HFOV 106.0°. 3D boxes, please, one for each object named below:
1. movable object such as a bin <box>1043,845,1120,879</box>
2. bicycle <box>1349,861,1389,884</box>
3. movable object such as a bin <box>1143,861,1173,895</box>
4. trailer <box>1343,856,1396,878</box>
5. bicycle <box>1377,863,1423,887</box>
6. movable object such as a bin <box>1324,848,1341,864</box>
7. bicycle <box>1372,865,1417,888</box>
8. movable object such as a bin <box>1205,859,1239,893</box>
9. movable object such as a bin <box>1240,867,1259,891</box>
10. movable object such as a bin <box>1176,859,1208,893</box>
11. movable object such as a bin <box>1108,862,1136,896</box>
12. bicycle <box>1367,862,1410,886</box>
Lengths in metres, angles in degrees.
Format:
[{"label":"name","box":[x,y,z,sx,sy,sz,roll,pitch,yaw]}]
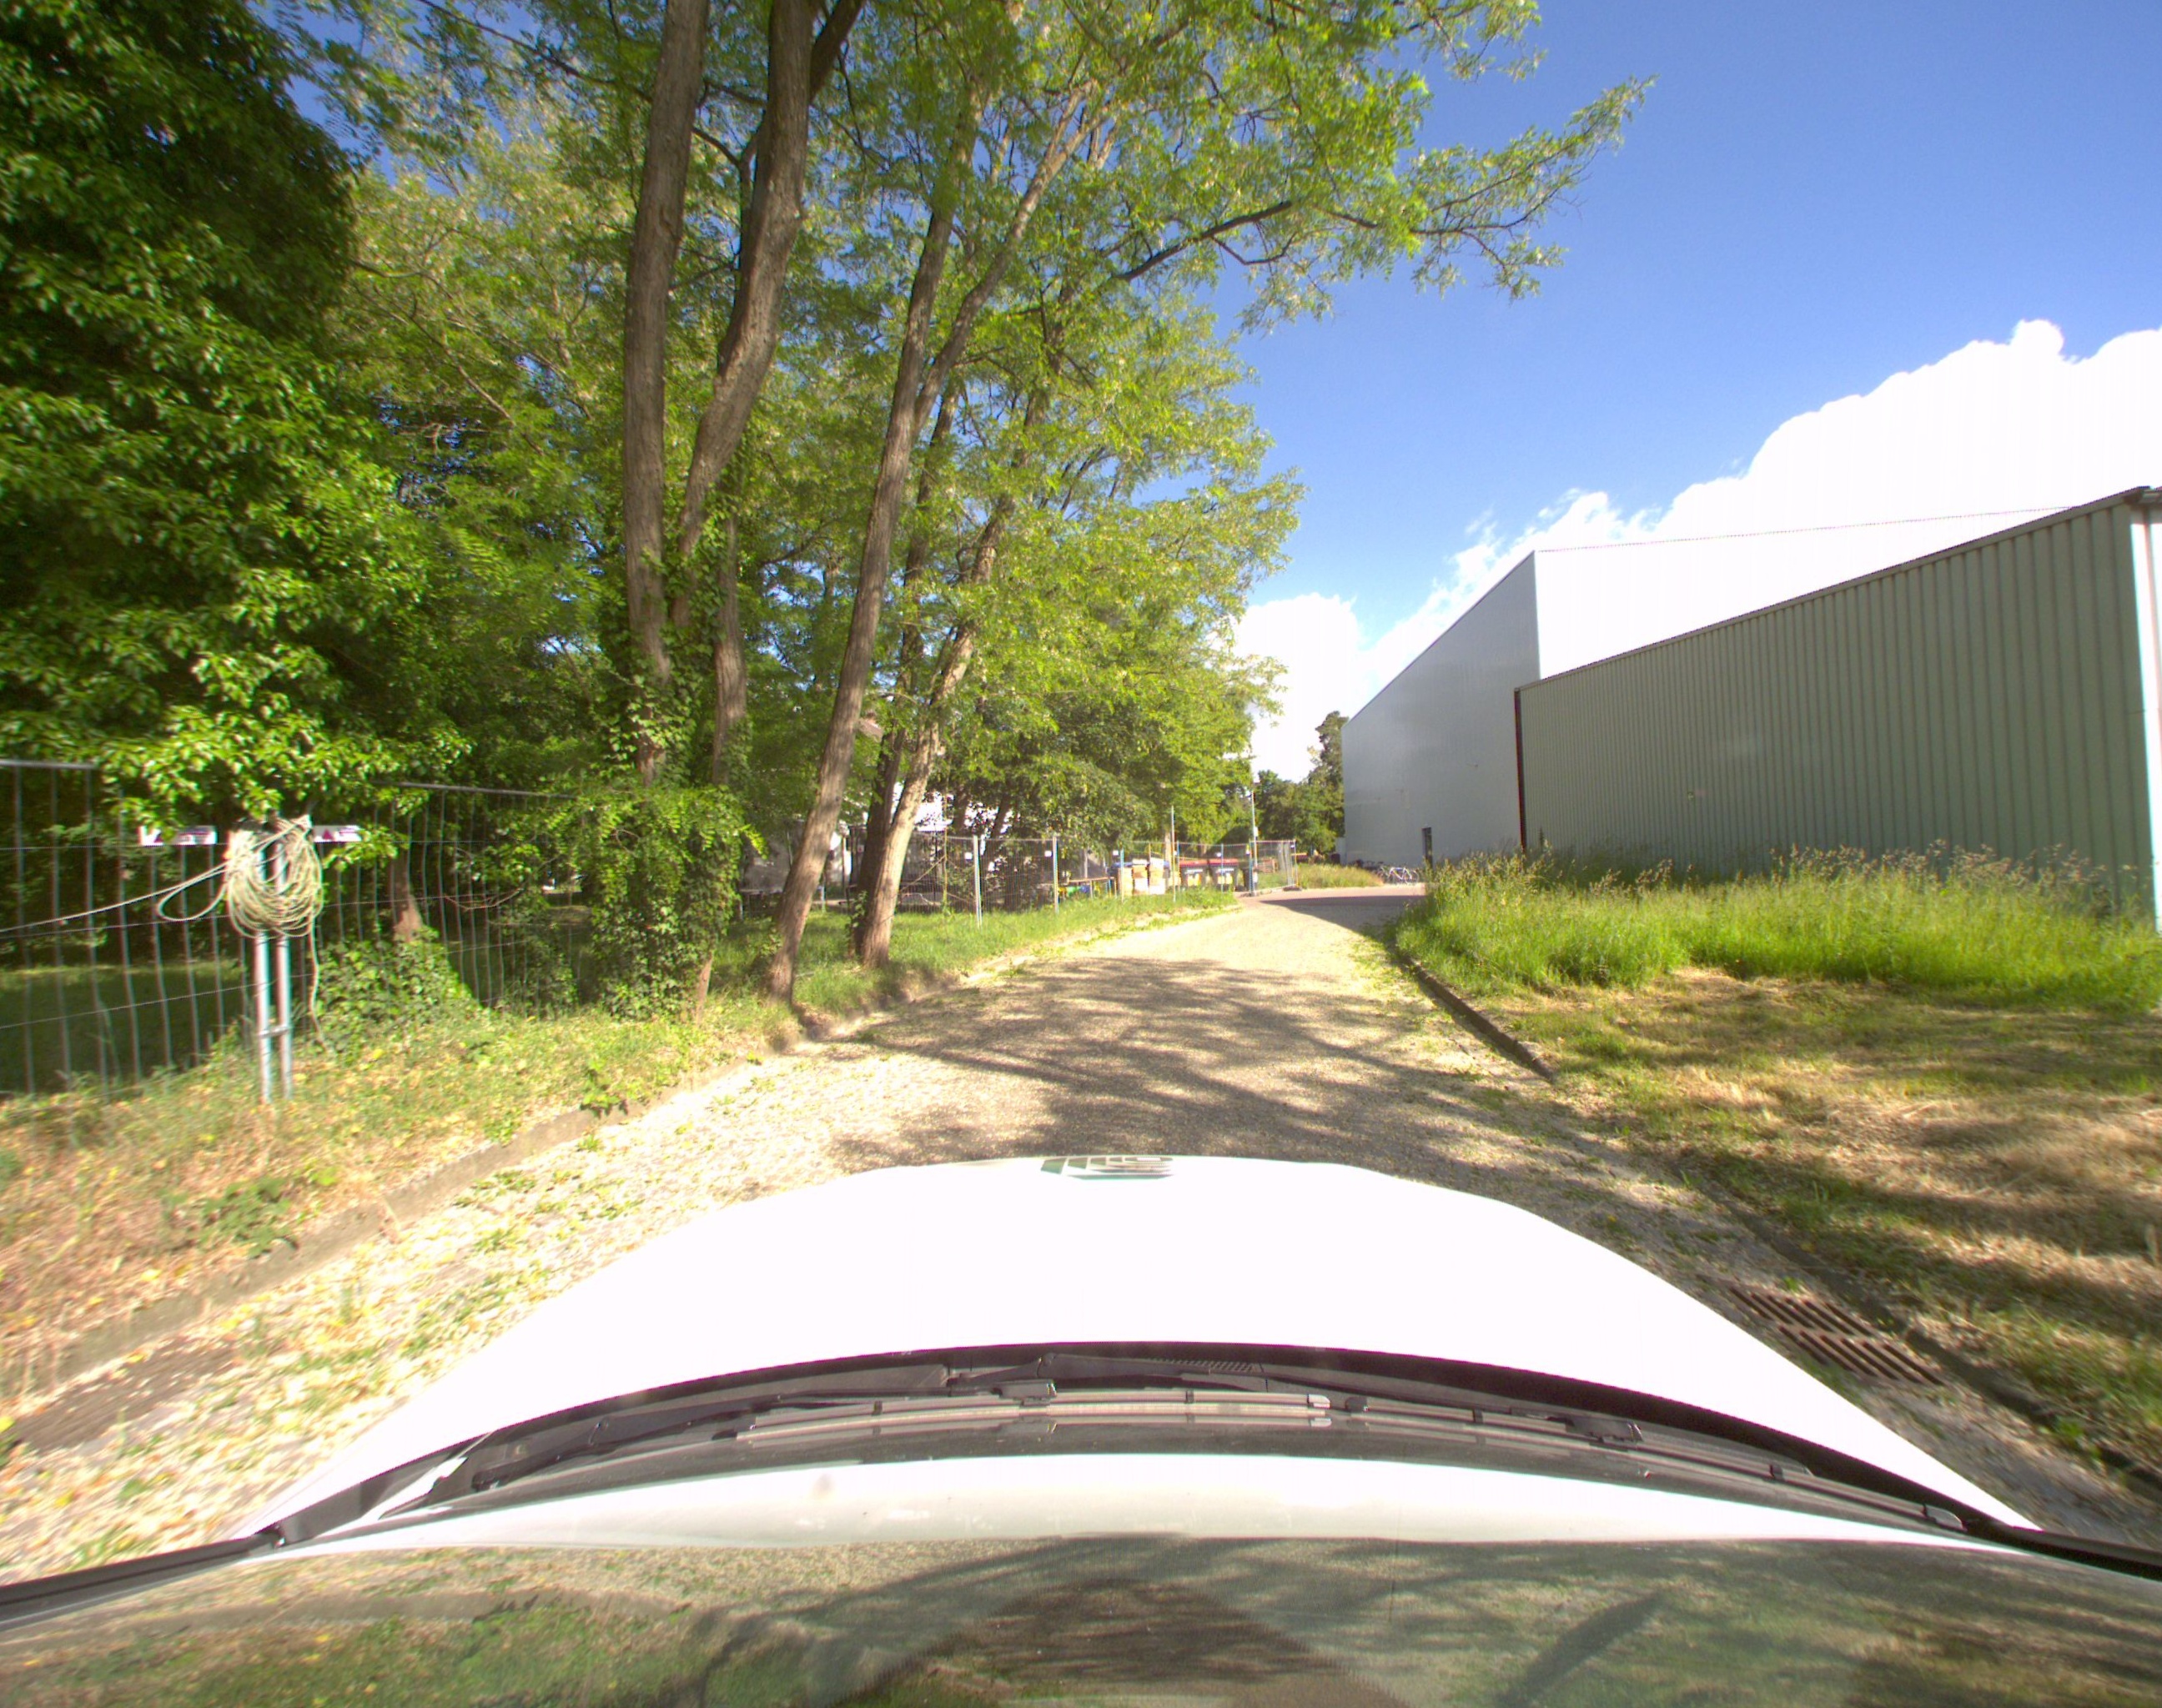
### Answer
[{"label":"movable object such as a bin","box":[0.073,0.528,53.358,4.848,1.970,1.935,-3,-1,5]},{"label":"bicycle","box":[15.018,0.965,42.456,1.873,1.126,0.434,-3,-1,6]},{"label":"movable object such as a bin","box":[3.405,1.040,36.038,1.281,1.426,1.034,-2,-1,5]},{"label":"trailer","box":[16.981,0.778,47.988,2.696,1.200,1.248,-3,-1,6]},{"label":"bicycle","box":[14.597,0.956,37.244,1.873,0.978,0.434,-3,-1,6]},{"label":"movable object such as a bin","box":[28.686,0.228,92.930,1.355,1.656,2.850,-3,-1,10]},{"label":"bicycle","box":[14.812,1.054,38.515,1.873,0.978,0.434,-3,-1,6]},{"label":"movable object such as a bin","box":[6.182,0.943,35.760,1.281,1.426,1.033,-2,-1,4]},{"label":"movable object such as a bin","box":[7.345,1.092,35.457,0.636,1.007,0.608,-3,-1,23]},{"label":"movable object such as a bin","box":[4.877,0.976,35.855,1.281,1.426,1.034,-2,-1,5]},{"label":"movable object such as a bin","box":[1.847,1.102,36.267,1.077,1.438,1.059,-3,-1,9]},{"label":"bicycle","box":[14.989,0.956,39.769,1.873,1.082,0.434,-3,-1,6]}]
